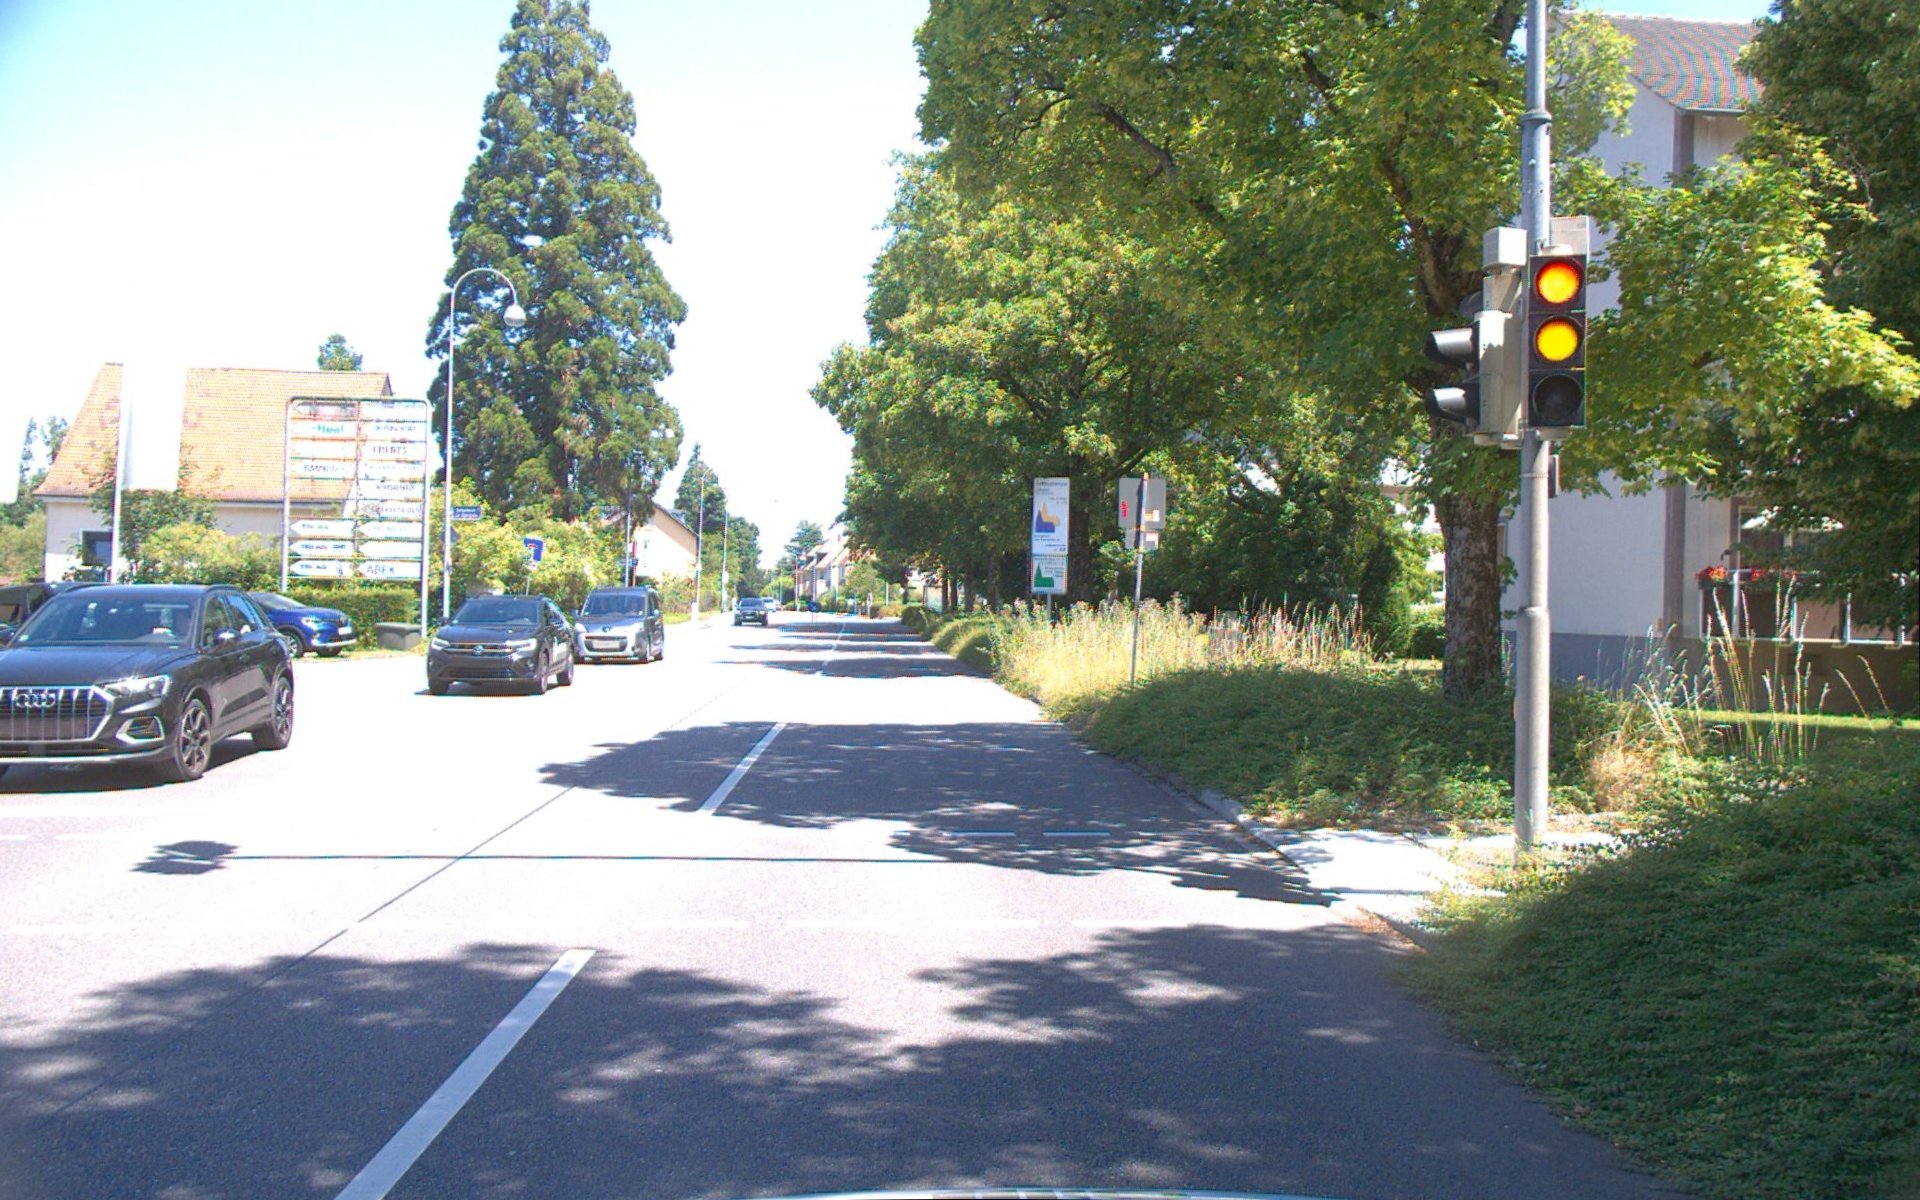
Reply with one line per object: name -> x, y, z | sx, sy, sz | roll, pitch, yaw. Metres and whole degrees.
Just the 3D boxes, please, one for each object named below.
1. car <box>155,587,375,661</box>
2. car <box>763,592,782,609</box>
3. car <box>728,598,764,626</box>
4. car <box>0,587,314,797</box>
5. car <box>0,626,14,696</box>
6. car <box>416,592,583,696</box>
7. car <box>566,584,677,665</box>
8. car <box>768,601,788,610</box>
car -> -15.075, 0.506, 35.971 | 4.047, 1.531, 1.779 | 0, 0, 8
car -> -20.800, 0.058, 183.231 | 1.874, 1.718, 4.122 | 1, 0, -4
car -> -12.434, 0.694, 96.277 | 1.758, 1.563, 4.312 | 1, 0, -3
car -> -7.276, 0.692, 14.649 | 1.890, 1.582, 4.295 | 0, 0, -8
car -> -24.744, 1.526, 40.063 | 1.775, 1.752, 4.081 | 1, 0, -8
car -> -7.251, 0.654, 26.435 | 1.832, 1.533, 4.049 | 0, 0, -5
car -> -7.974, 0.550, 39.356 | 1.774, 1.793, 4.569 | 1, 0, -1
car -> -26.266, 0.788, 238.644 | 1.914, 1.383, 4.439 | 0, 0, -19
